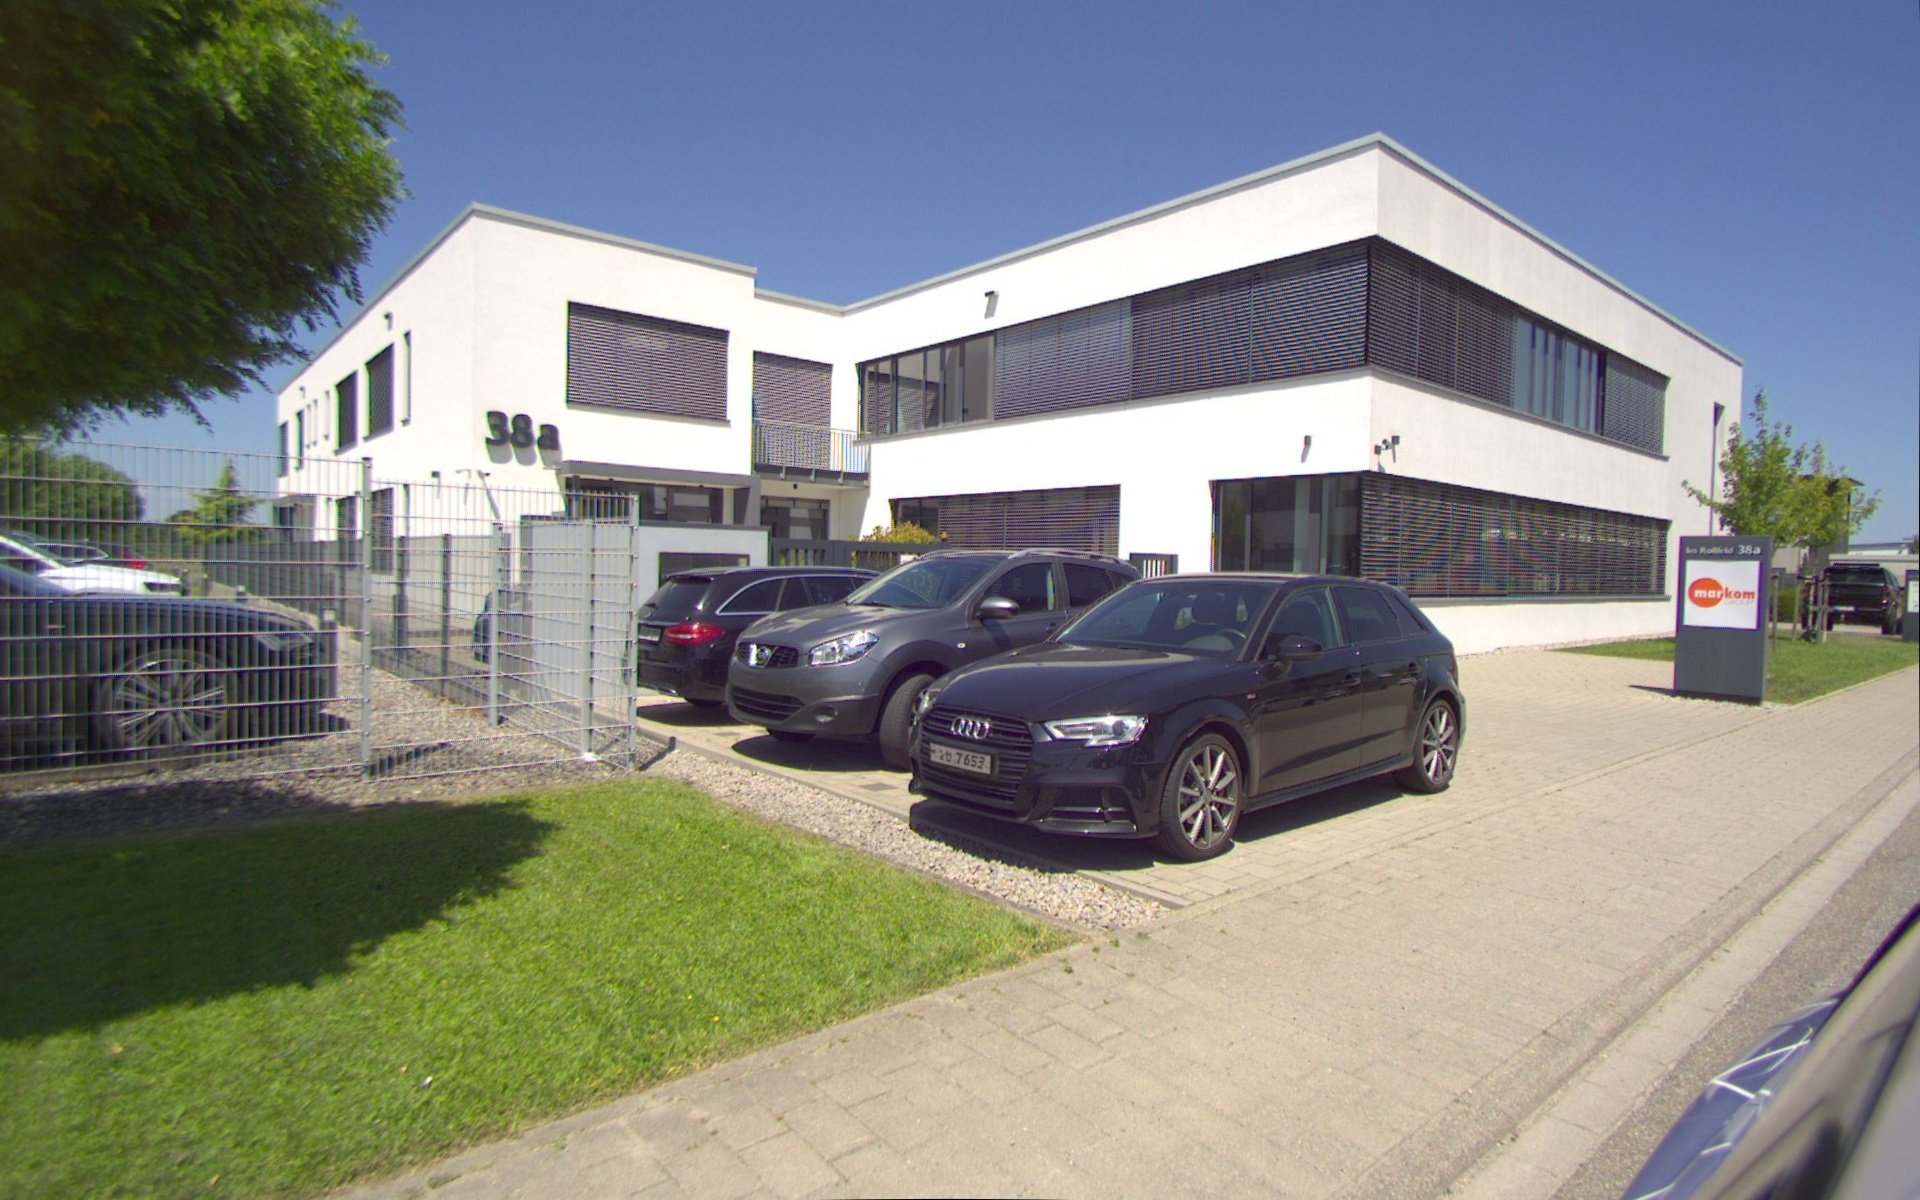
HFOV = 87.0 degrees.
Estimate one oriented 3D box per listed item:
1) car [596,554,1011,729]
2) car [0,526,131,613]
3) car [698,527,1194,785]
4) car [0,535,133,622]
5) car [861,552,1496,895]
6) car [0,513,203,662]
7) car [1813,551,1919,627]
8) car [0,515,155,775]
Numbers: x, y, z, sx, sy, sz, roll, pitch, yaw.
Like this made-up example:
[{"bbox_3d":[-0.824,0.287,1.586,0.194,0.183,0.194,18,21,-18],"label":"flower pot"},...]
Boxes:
[{"bbox_3d":[-1.488,0.309,10.455,3.952,1.467,1.726,-1,1,-41],"label":"car"},{"bbox_3d":[-18.575,-0.591,19.460,3.986,1.624,1.741,-3,4,-41],"label":"car"},{"bbox_3d":[0.037,0.320,8.418,3.952,1.653,1.726,-1,1,-41],"label":"car"},{"bbox_3d":[-16.665,-0.373,17.192,3.986,1.447,1.741,-3,4,-41],"label":"car"},{"bbox_3d":[1.577,0.483,6.283,4.172,1.445,1.695,-1,1,-41],"label":"car"},{"bbox_3d":[-11.420,-0.159,11.827,3.986,1.656,1.741,-3,4,-41],"label":"car"},{"bbox_3d":[27.378,-0.275,30.309,5.700,2.039,1.997,2,1,-42],"label":"car"},{"bbox_3d":[-6.801,0.274,5.278,3.986,1.415,1.741,-3,4,-41],"label":"car"}]
